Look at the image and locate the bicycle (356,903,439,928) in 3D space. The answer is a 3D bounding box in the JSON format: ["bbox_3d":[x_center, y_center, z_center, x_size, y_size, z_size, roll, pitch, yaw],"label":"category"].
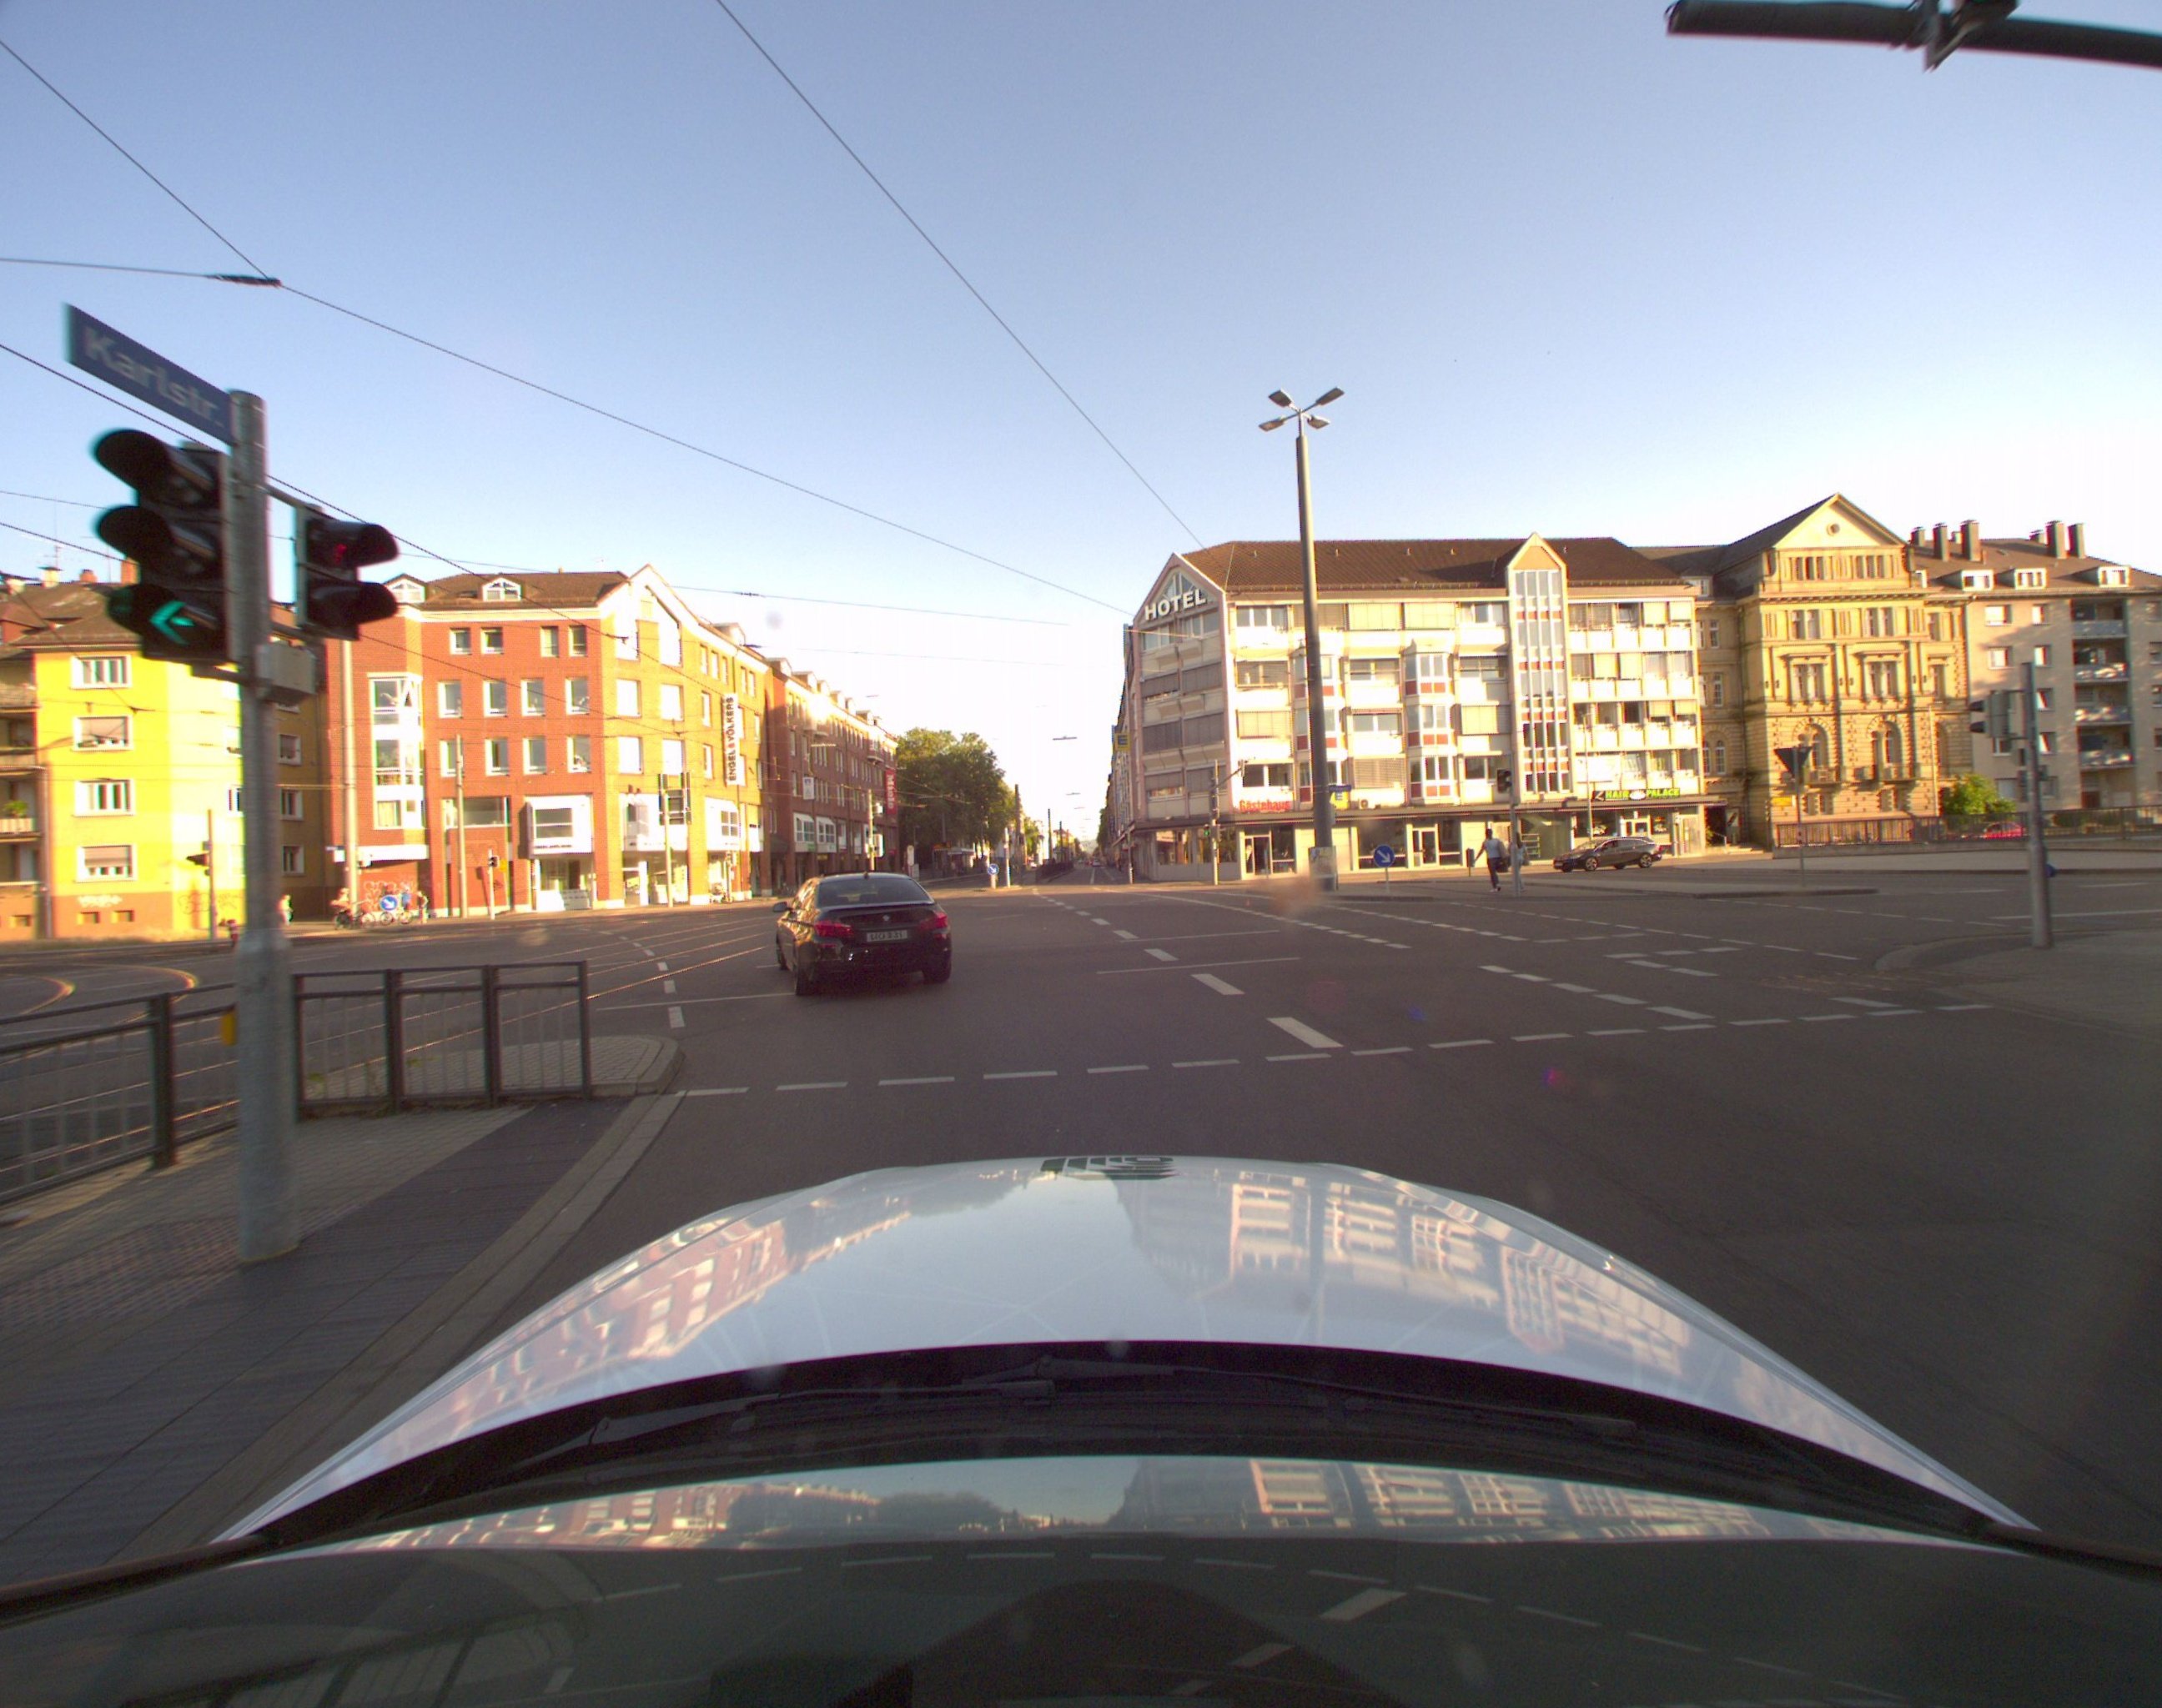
[{"bbox_3d":[-33.985,3.067,40.538,3.054,1.017,0.928,-3,-1,-10],"label":"bicycle"}]

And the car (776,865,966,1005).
[{"bbox_3d":[-3.076,0.907,11.203,1.850,1.495,4.257,0,-1,-24],"label":"car"}]

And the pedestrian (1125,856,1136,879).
[{"bbox_3d":[3.512,0.947,58.009,0.703,1.548,0.906,-1,2,-2],"label":"pedestrian"}]

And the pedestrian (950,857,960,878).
[{"bbox_3d":[-12.102,1.278,78.148,0.806,2.013,0.677,-3,0,-3],"label":"pedestrian"}]

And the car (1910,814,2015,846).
[{"bbox_3d":[45.487,-1.215,42.078,3.878,1.422,1.646,-2,-1,-5],"label":"car"}]

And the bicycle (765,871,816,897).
[{"bbox_3d":[-21.500,2.232,60.304,3.286,1.726,1.069,-3,0,0],"label":"bicycle"}]

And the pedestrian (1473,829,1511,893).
[{"bbox_3d":[10.985,0.182,21.785,0.717,1.649,0.777,-3,-1,36],"label":"pedestrian"}]

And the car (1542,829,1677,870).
[{"bbox_3d":[23.630,-0.194,36.581,4.575,1.555,2.226,-3,0,5],"label":"car"}]

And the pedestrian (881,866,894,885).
[{"bbox_3d":[-21.355,2.370,89.827,1.083,2.013,1.083,-2,-1,-4],"label":"pedestrian"}]

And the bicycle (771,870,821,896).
[{"bbox_3d":[-21.480,2.173,61.474,3.287,1.726,1.069,-3,0,-1],"label":"bicycle"}]

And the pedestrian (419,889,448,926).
[{"bbox_3d":[-33.102,2.745,41.653,0.870,1.793,0.707,-3,-1,-11],"label":"pedestrian"}]

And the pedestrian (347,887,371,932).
[{"bbox_3d":[-28.672,2.203,32.325,0.512,1.708,0.419,-3,-1,-2],"label":"pedestrian"}]

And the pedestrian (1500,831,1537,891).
[{"bbox_3d":[11.860,0.190,22.069,0.696,1.582,0.831,-3,-1,36],"label":"pedestrian"}]
